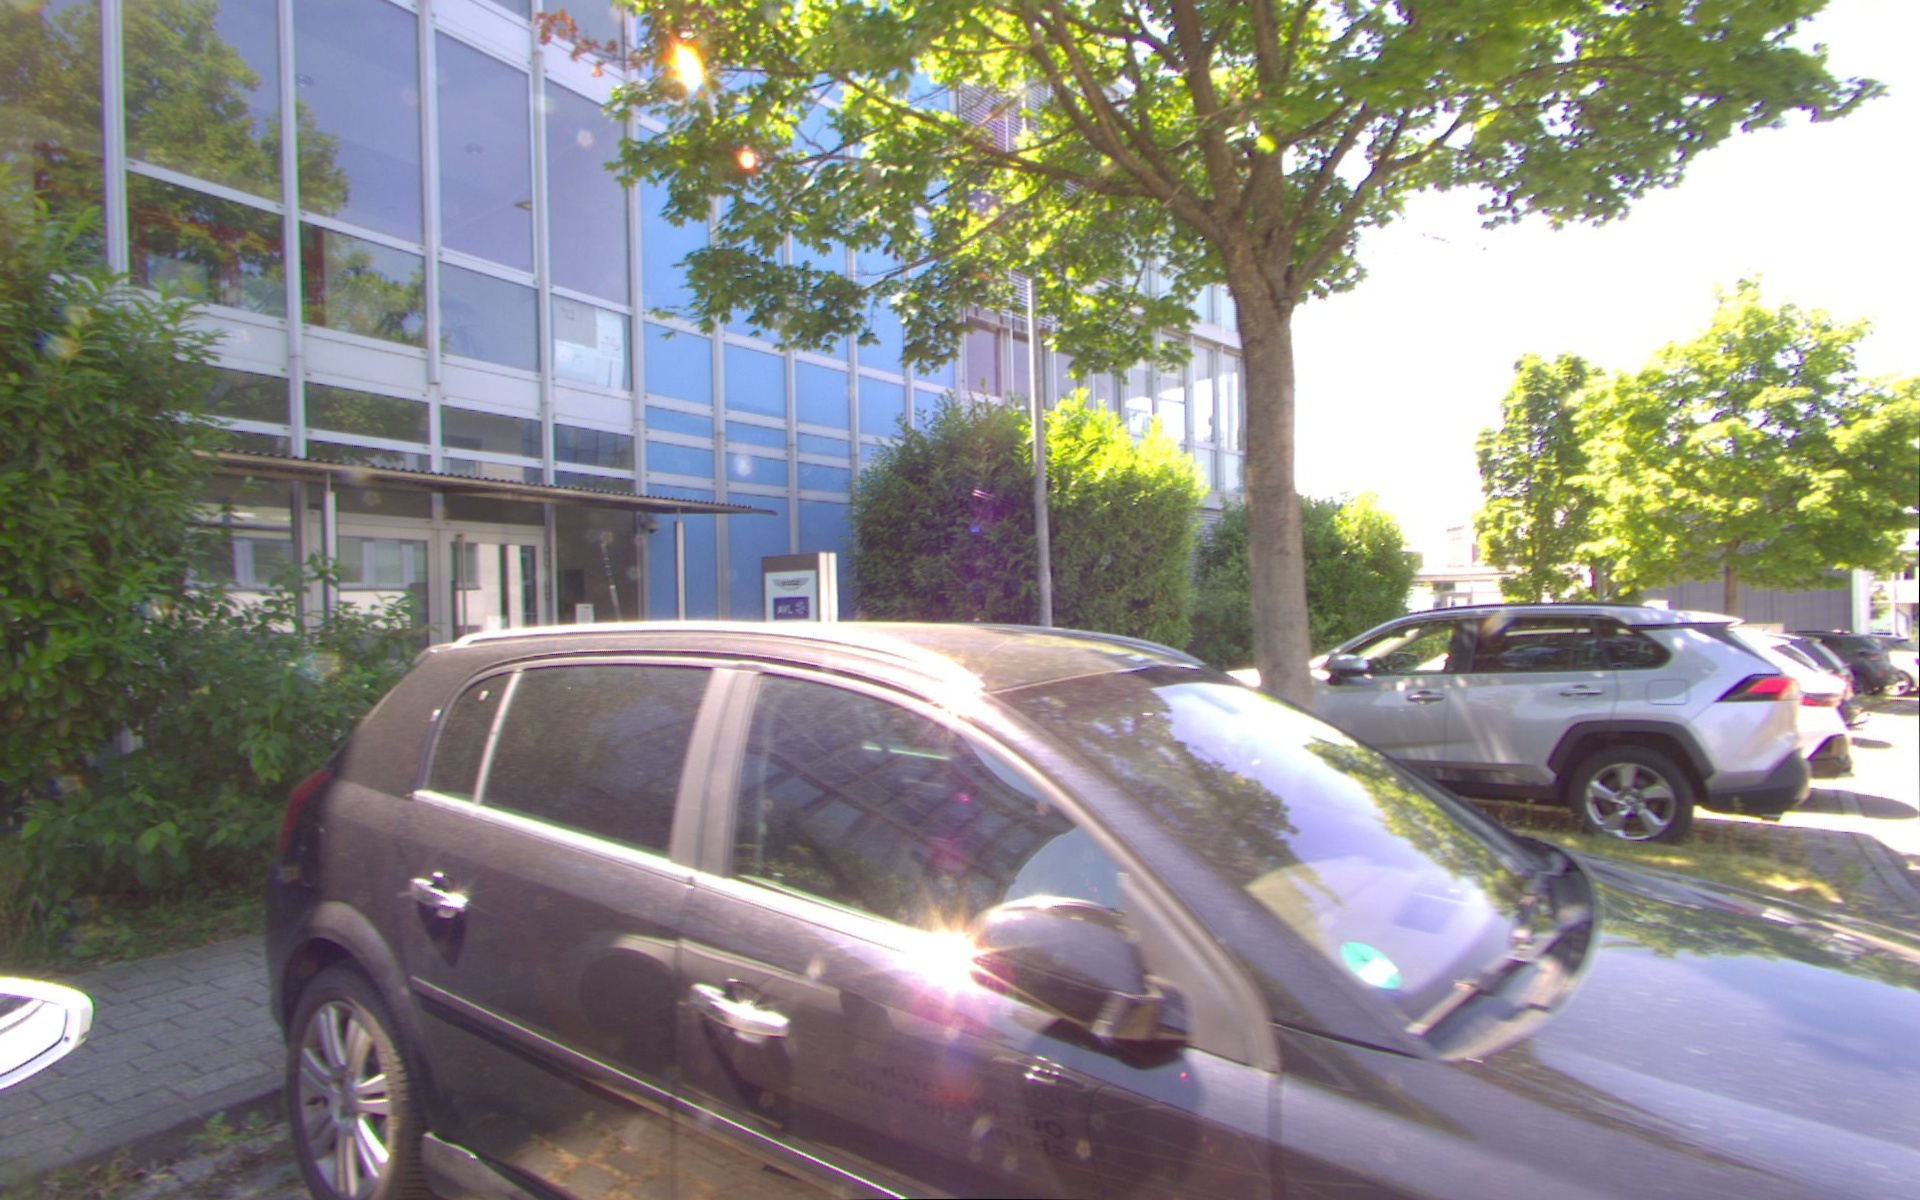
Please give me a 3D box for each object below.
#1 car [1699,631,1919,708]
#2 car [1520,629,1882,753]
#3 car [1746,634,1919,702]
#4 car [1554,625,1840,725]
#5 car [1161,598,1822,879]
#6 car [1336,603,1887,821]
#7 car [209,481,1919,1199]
[{"bbox_3d":[19.423,1.531,23.030,1.615,1.545,3.565,2,-1,-35],"label":"car"},{"bbox_3d":[10.840,1.227,14.860,4.134,1.505,1.646,0,-1,45],"label":"car"},{"bbox_3d":[21.463,1.599,24.201,1.615,1.462,3.565,2,-1,-35],"label":"car"},{"bbox_3d":[13.991,1.342,19.216,1.642,1.626,4.143,2,-1,-39],"label":"car"},{"bbox_3d":[3.978,0.852,8.019,4.276,1.664,1.845,0,-1,37],"label":"car"},{"bbox_3d":[6.011,0.896,9.686,4.148,1.664,1.650,0,-1,37],"label":"car"},{"bbox_3d":[0.200,0.732,2.287,4.504,1.569,1.754,-1,-2,35],"label":"car"}]
